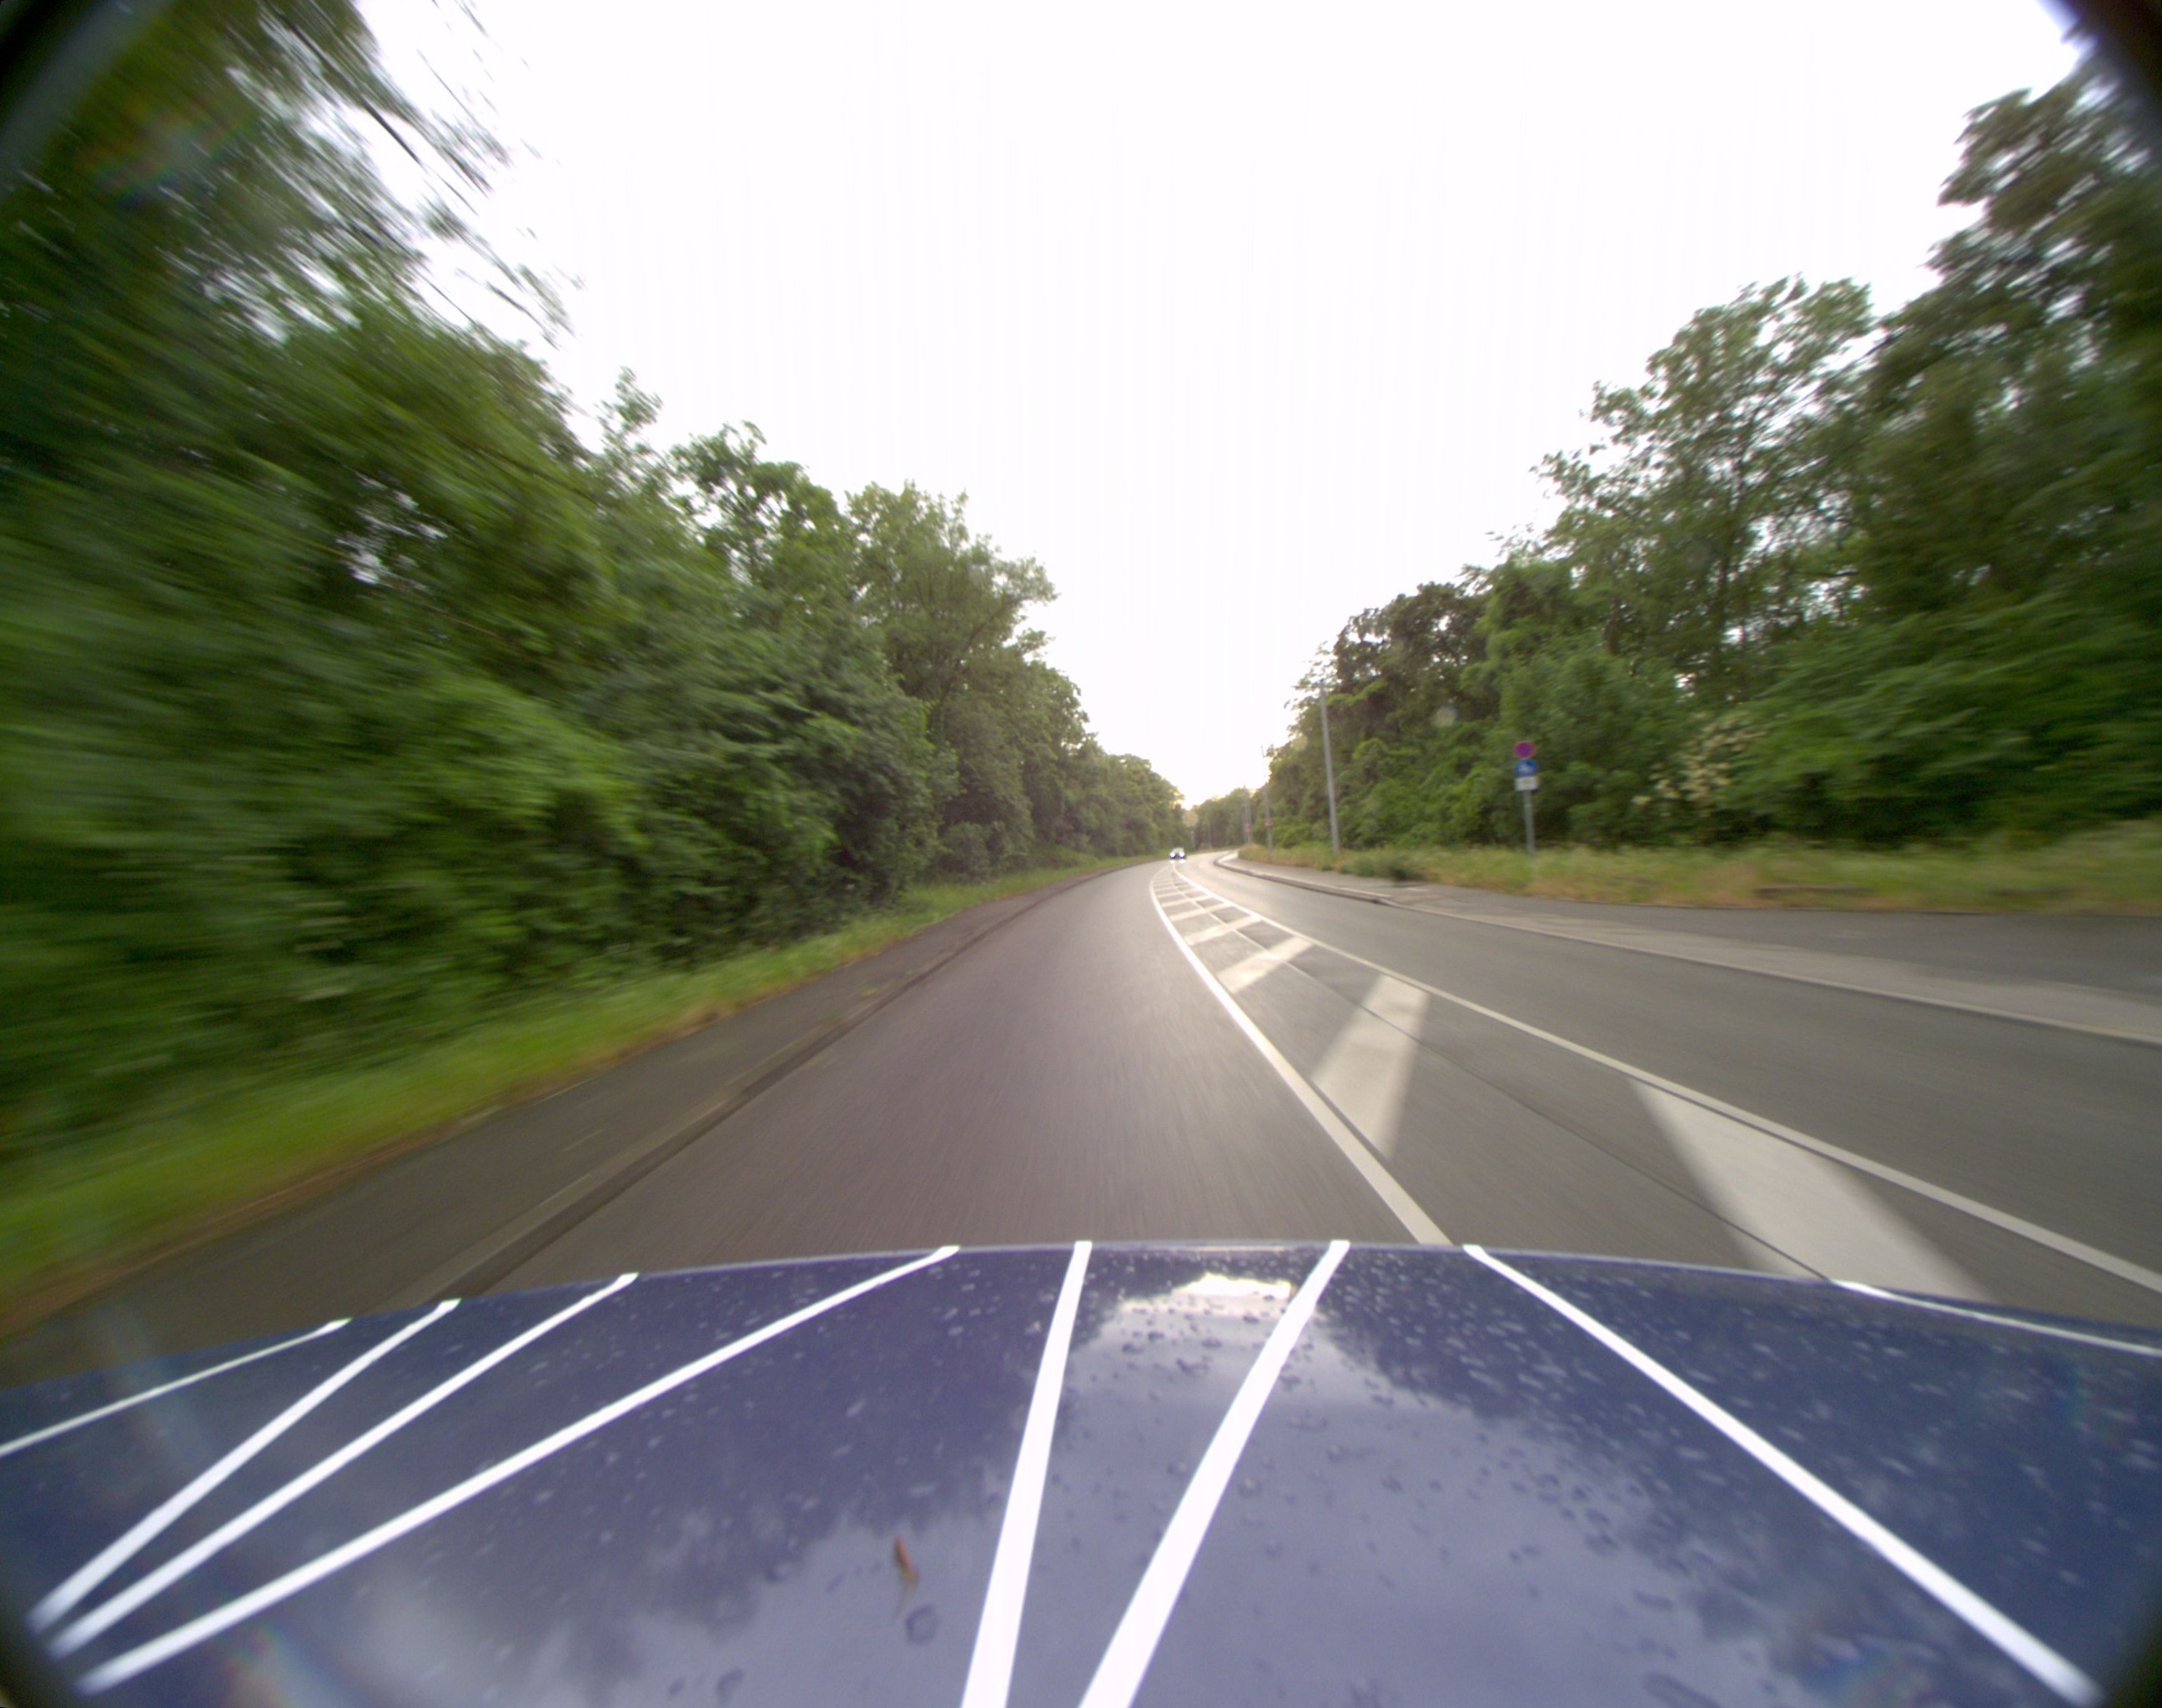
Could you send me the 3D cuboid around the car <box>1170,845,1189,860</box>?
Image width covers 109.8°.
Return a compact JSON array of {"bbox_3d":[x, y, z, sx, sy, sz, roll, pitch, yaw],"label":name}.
[{"bbox_3d":[12.592,-0.215,96.538,1.997,1.674,4.003,-3,1,12],"label":"car"}]
